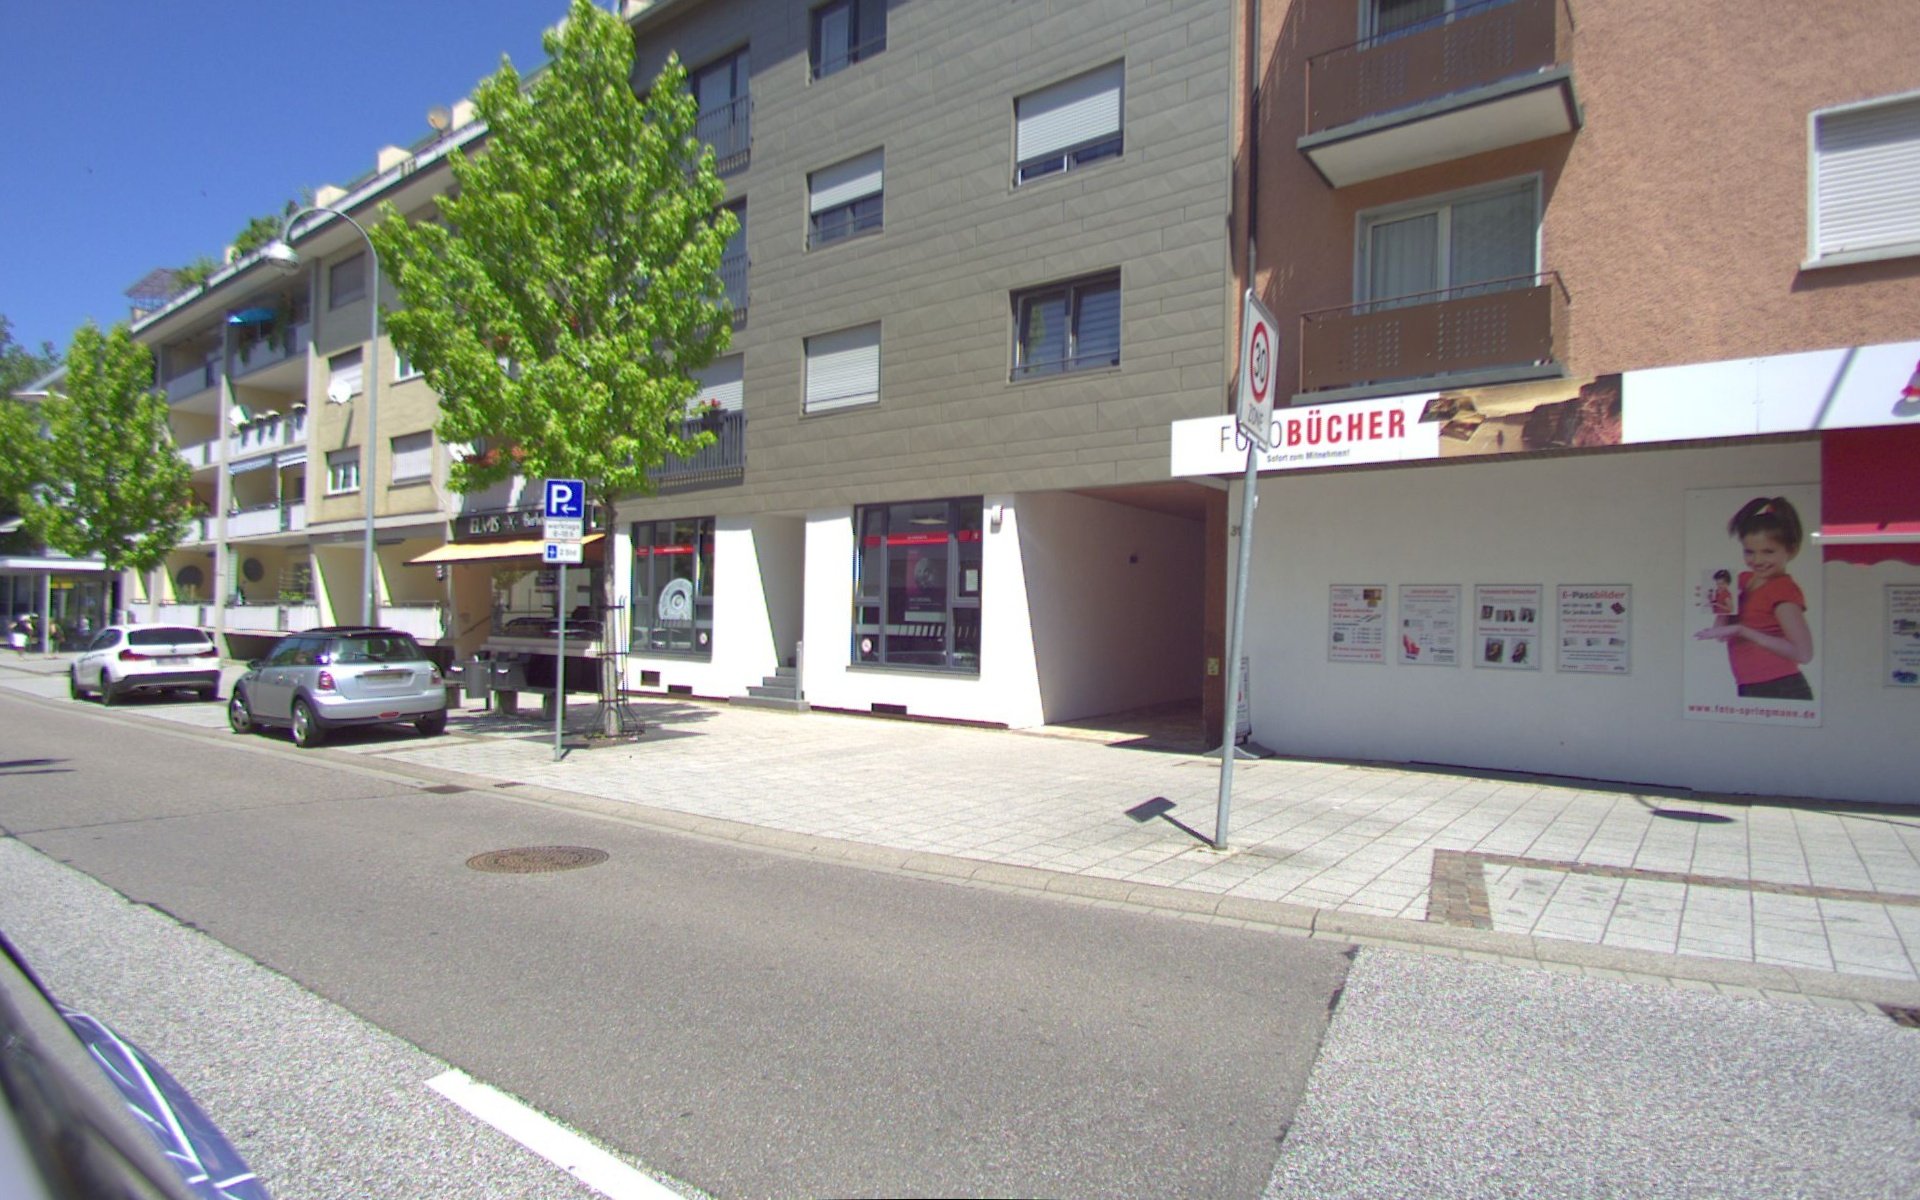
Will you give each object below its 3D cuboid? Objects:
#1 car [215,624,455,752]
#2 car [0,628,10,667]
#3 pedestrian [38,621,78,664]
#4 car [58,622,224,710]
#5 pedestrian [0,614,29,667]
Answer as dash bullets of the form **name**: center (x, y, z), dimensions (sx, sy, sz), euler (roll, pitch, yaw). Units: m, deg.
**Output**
- **car**: center (-8.420, 1.076, 13.549), dimensions (3.543, 1.485, 1.606), euler (-1, -2, 38)
- **car**: center (-38.862, 1.852, 39.412), dimensions (3.991, 1.475, 1.976), euler (-1, -1, 35)
- **pedestrian**: center (-32.674, 1.532, 36.667), dimensions (0.690, 1.510, 0.776), euler (0, -2, 13)
- **car**: center (-16.522, 1.242, 20.349), dimensions (4.294, 1.604, 1.679), euler (-1, -2, 38)
- **pedestrian**: center (-33.027, 1.398, 35.321), dimensions (0.657, 1.818, 0.687), euler (2, -3, -37)
